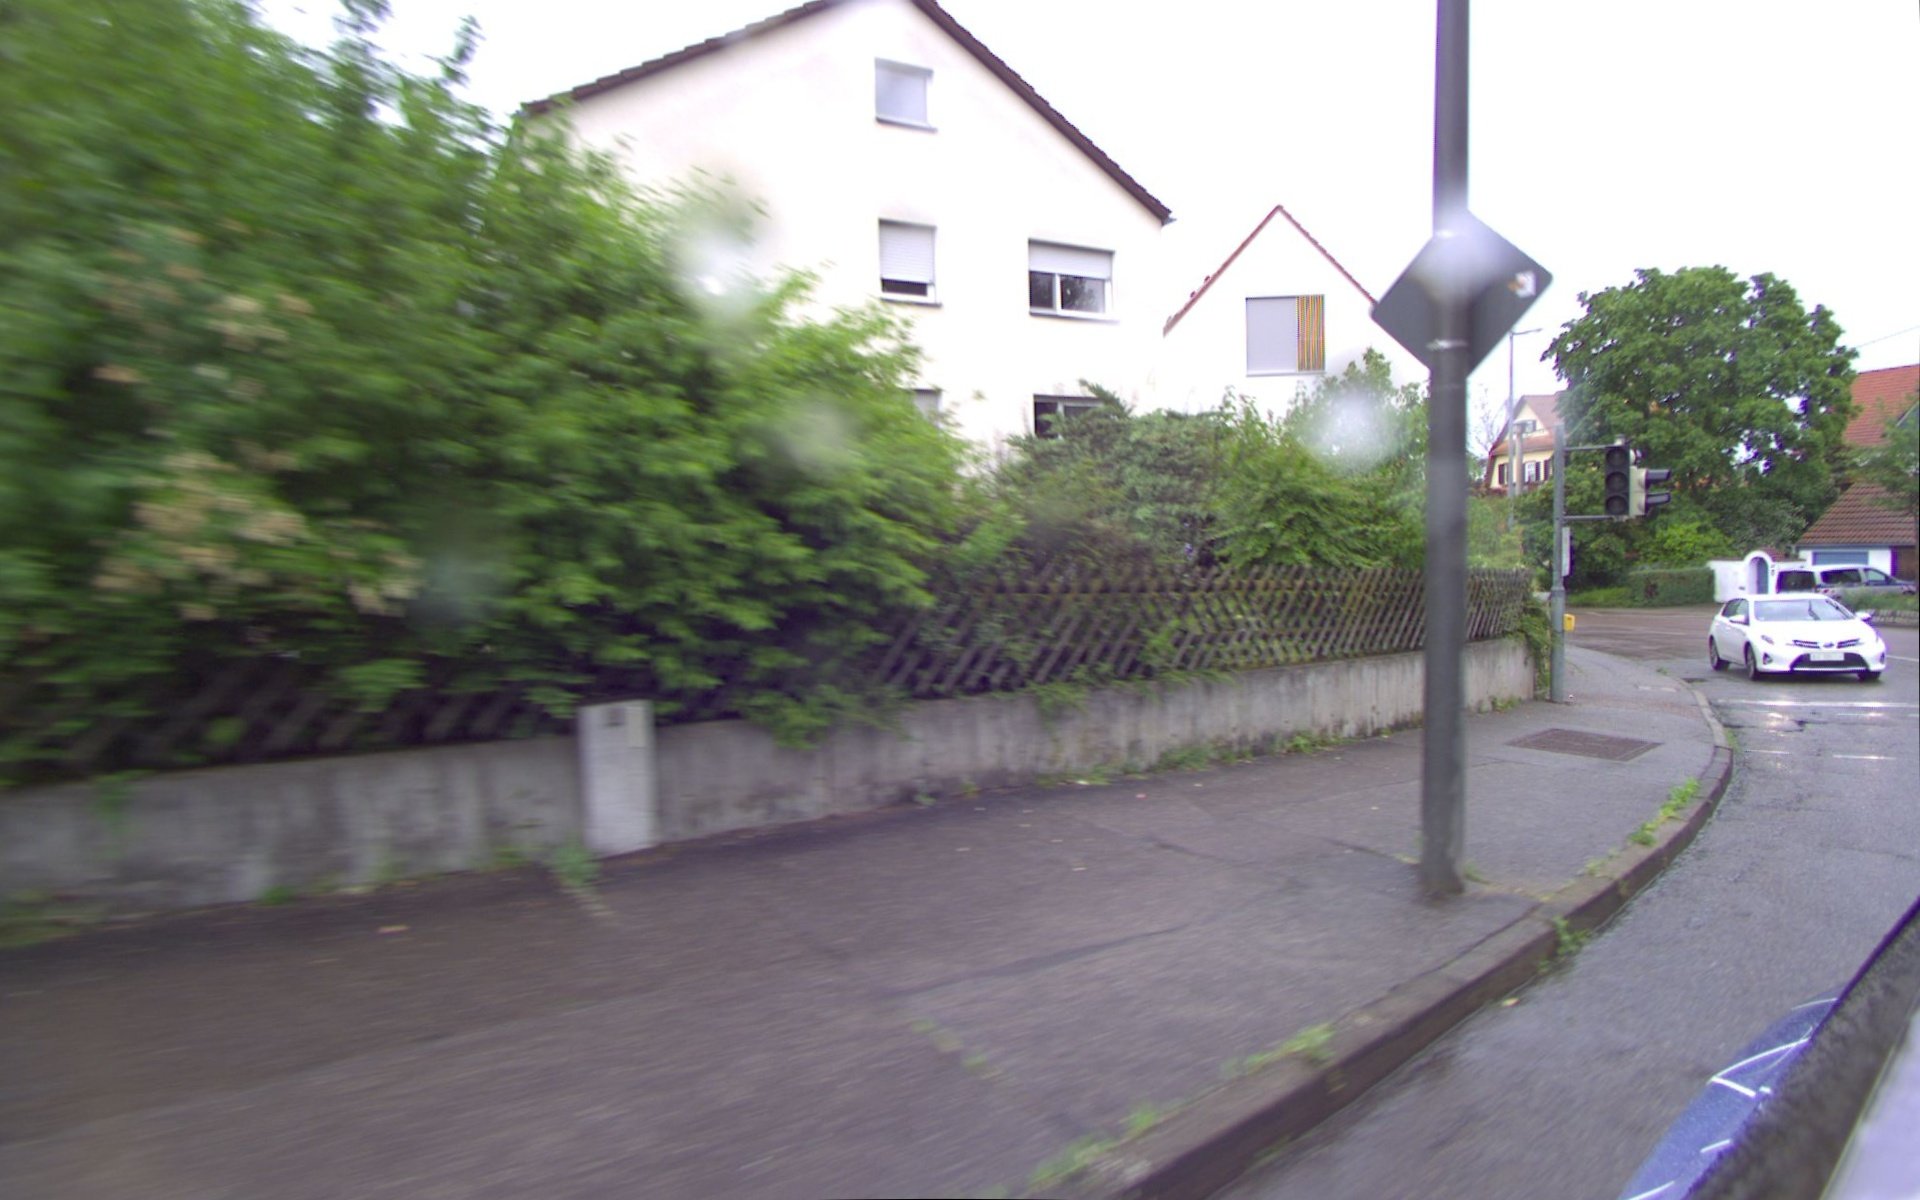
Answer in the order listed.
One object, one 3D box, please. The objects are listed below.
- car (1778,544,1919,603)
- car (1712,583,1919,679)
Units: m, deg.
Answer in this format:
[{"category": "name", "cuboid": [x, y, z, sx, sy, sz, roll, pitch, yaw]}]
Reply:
[{"category": "car", "cuboid": [31.761, -0.930, 35.764, 4.040, 1.822, 2.001, -3, 1, -2]}, {"category": "car", "cuboid": [15.099, 0.487, 18.078, 1.841, 1.453, 3.982, -3, 0, 25]}]
